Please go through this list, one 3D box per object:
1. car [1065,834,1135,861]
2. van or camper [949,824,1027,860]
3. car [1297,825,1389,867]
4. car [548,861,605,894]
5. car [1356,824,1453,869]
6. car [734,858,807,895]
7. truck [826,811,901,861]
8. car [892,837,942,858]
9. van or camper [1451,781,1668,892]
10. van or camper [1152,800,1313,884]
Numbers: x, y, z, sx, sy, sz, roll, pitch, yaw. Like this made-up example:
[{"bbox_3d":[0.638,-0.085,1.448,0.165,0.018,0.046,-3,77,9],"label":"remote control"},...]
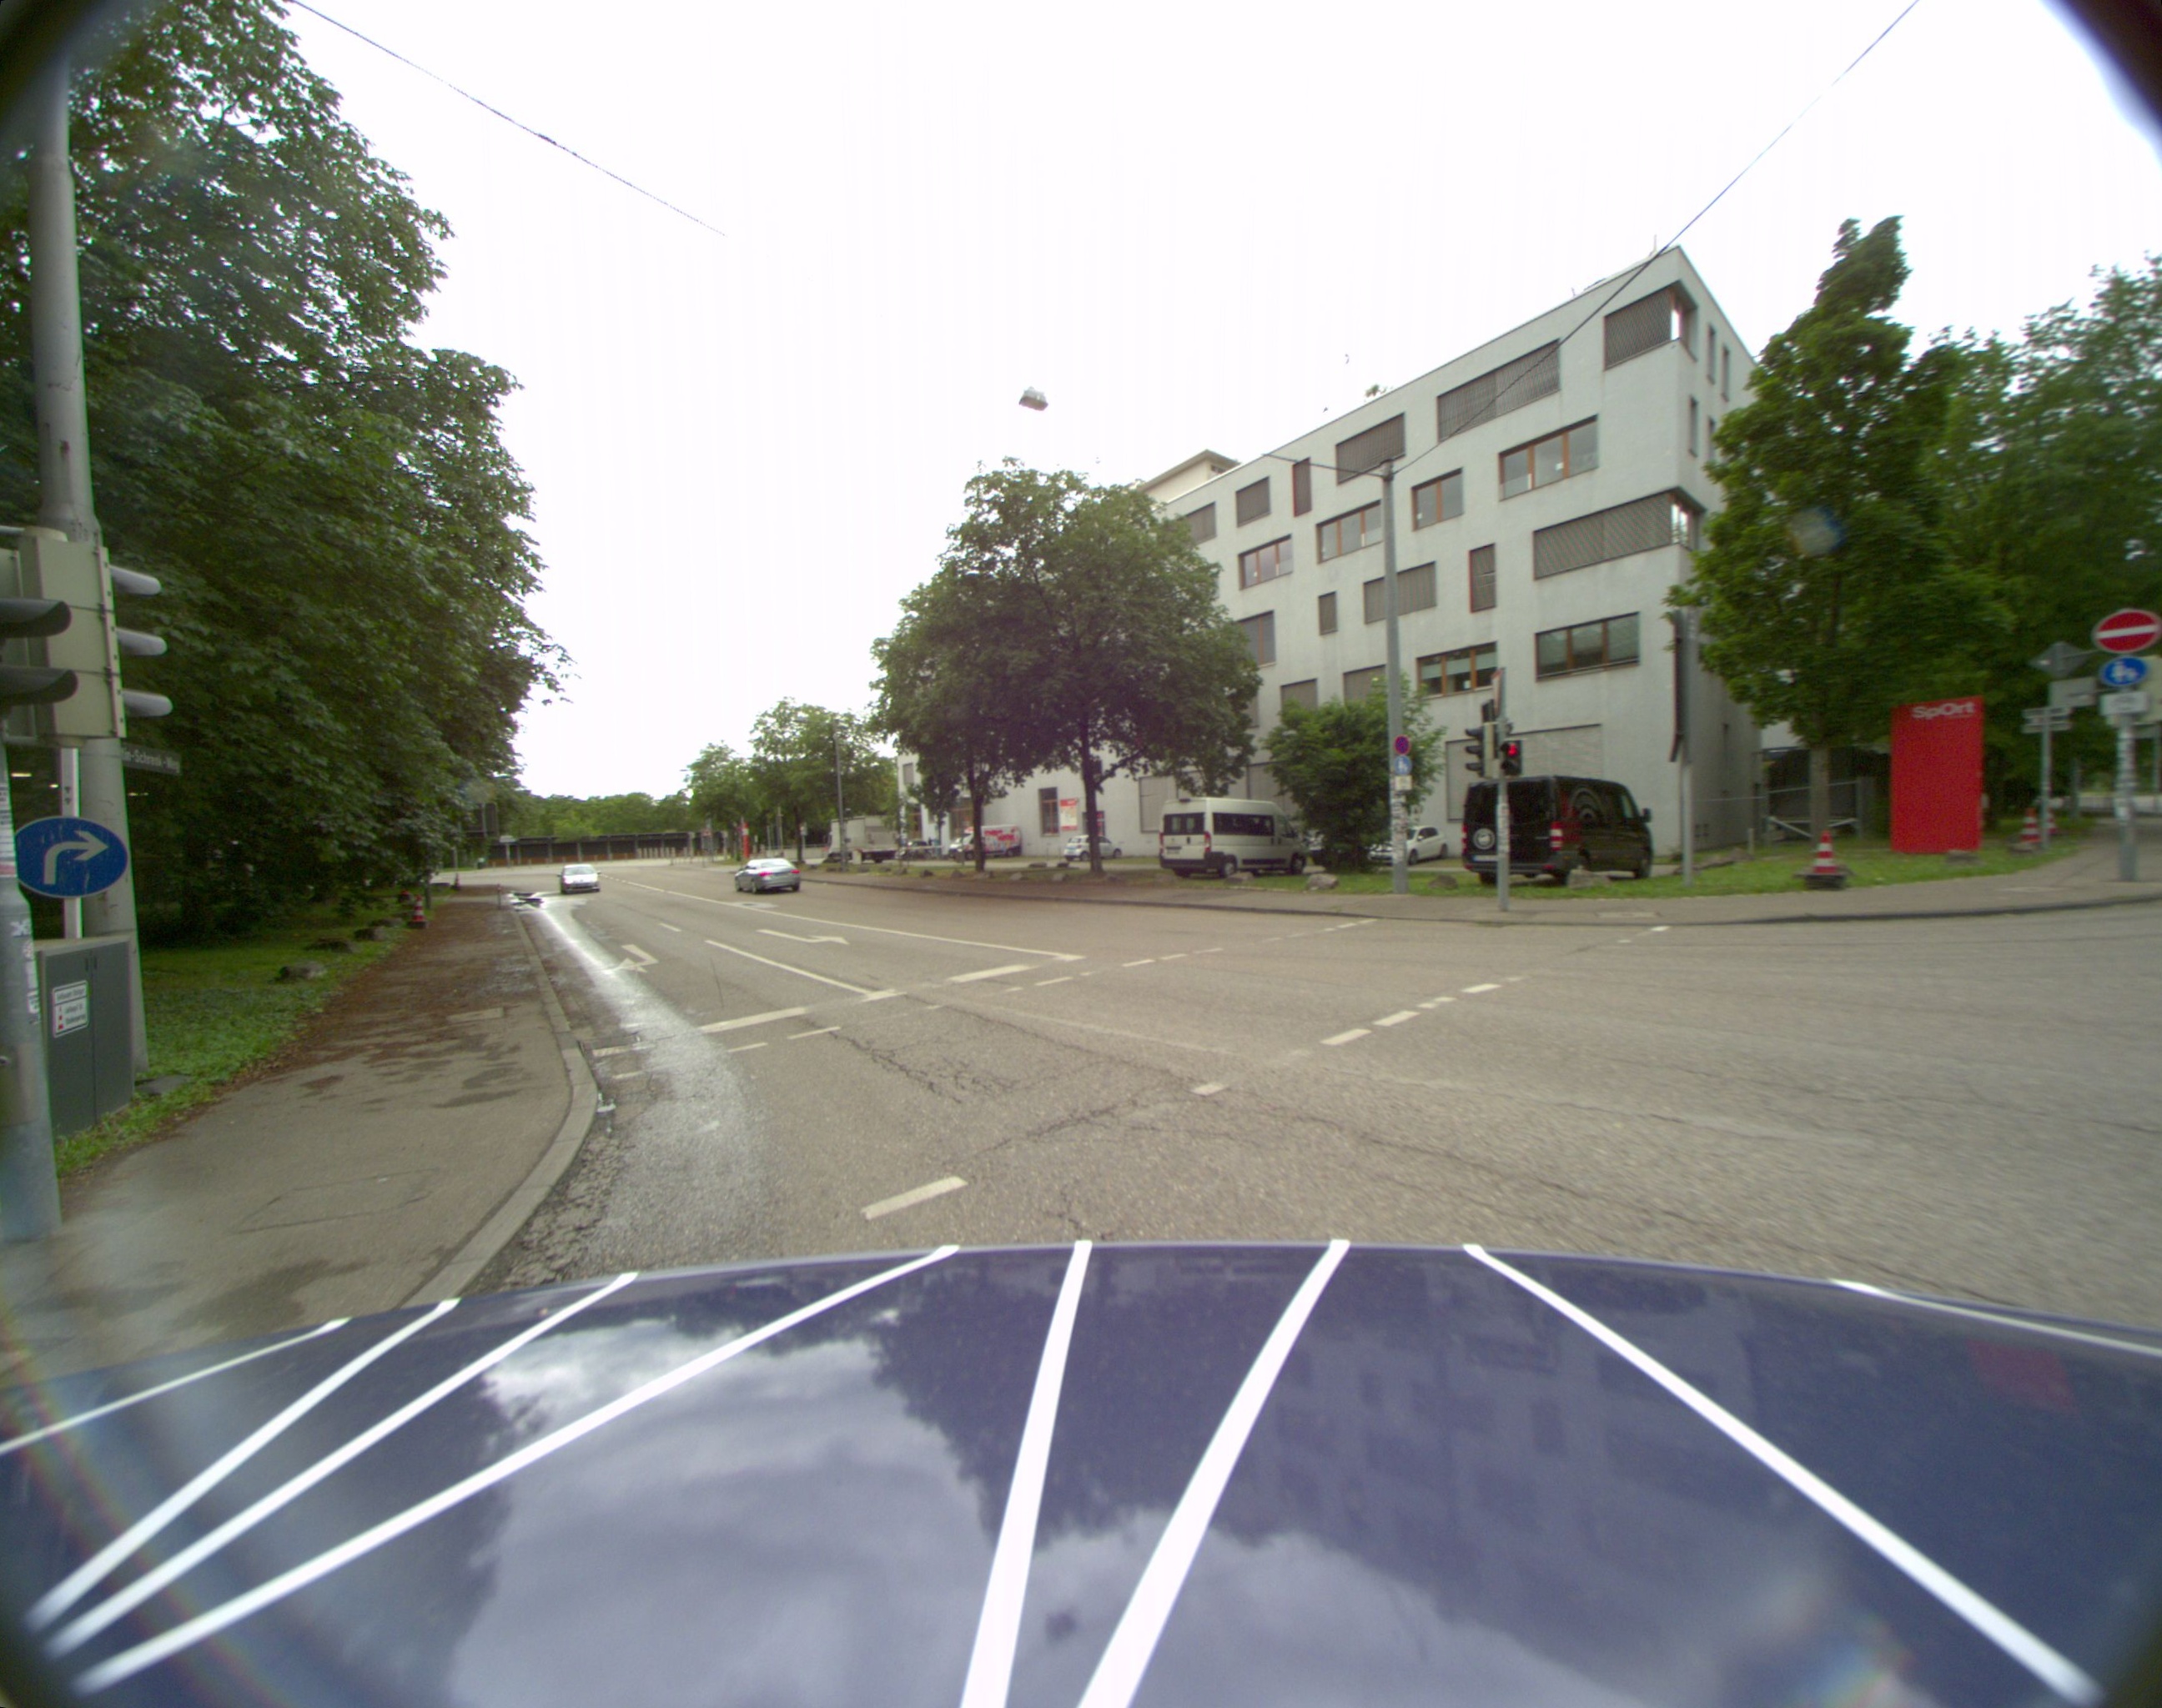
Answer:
[{"bbox_3d":[1.178,-0.392,46.808,4.018,1.411,1.710,-4,2,-37],"label":"car"},{"bbox_3d":[-6.915,-0.895,56.652,5.278,2.412,2.251,-4,3,-39],"label":"van or camper"},{"bbox_3d":[11.398,-0.363,32.936,4.088,1.521,1.839,-6,3,-39],"label":"car"},{"bbox_3d":[-26.613,1.209,40.007,1.859,1.471,4.496,-5,3,-41],"label":"car"},{"bbox_3d":[13.257,-0.331,31.012,4.082,1.452,1.853,-7,3,-38],"label":"car"},{"bbox_3d":[-13.349,0.943,32.512,1.706,1.389,4.359,-3,1,-38],"label":"car"},{"bbox_3d":[-16.990,-1.323,58.974,2.654,3.595,7.817,-2,1,-40],"label":"truck"},{"bbox_3d":[-13.946,-0.538,64.736,3.708,1.638,1.651,-4,2,-34],"label":"car"},{"bbox_3d":[10.768,-0.359,16.909,5.654,2.097,2.164,-1,0,-37],"label":"van or camper"},{"bbox_3d":[4.937,-0.422,24.350,5.195,2.409,2.151,-3,1,-39],"label":"van or camper"}]
